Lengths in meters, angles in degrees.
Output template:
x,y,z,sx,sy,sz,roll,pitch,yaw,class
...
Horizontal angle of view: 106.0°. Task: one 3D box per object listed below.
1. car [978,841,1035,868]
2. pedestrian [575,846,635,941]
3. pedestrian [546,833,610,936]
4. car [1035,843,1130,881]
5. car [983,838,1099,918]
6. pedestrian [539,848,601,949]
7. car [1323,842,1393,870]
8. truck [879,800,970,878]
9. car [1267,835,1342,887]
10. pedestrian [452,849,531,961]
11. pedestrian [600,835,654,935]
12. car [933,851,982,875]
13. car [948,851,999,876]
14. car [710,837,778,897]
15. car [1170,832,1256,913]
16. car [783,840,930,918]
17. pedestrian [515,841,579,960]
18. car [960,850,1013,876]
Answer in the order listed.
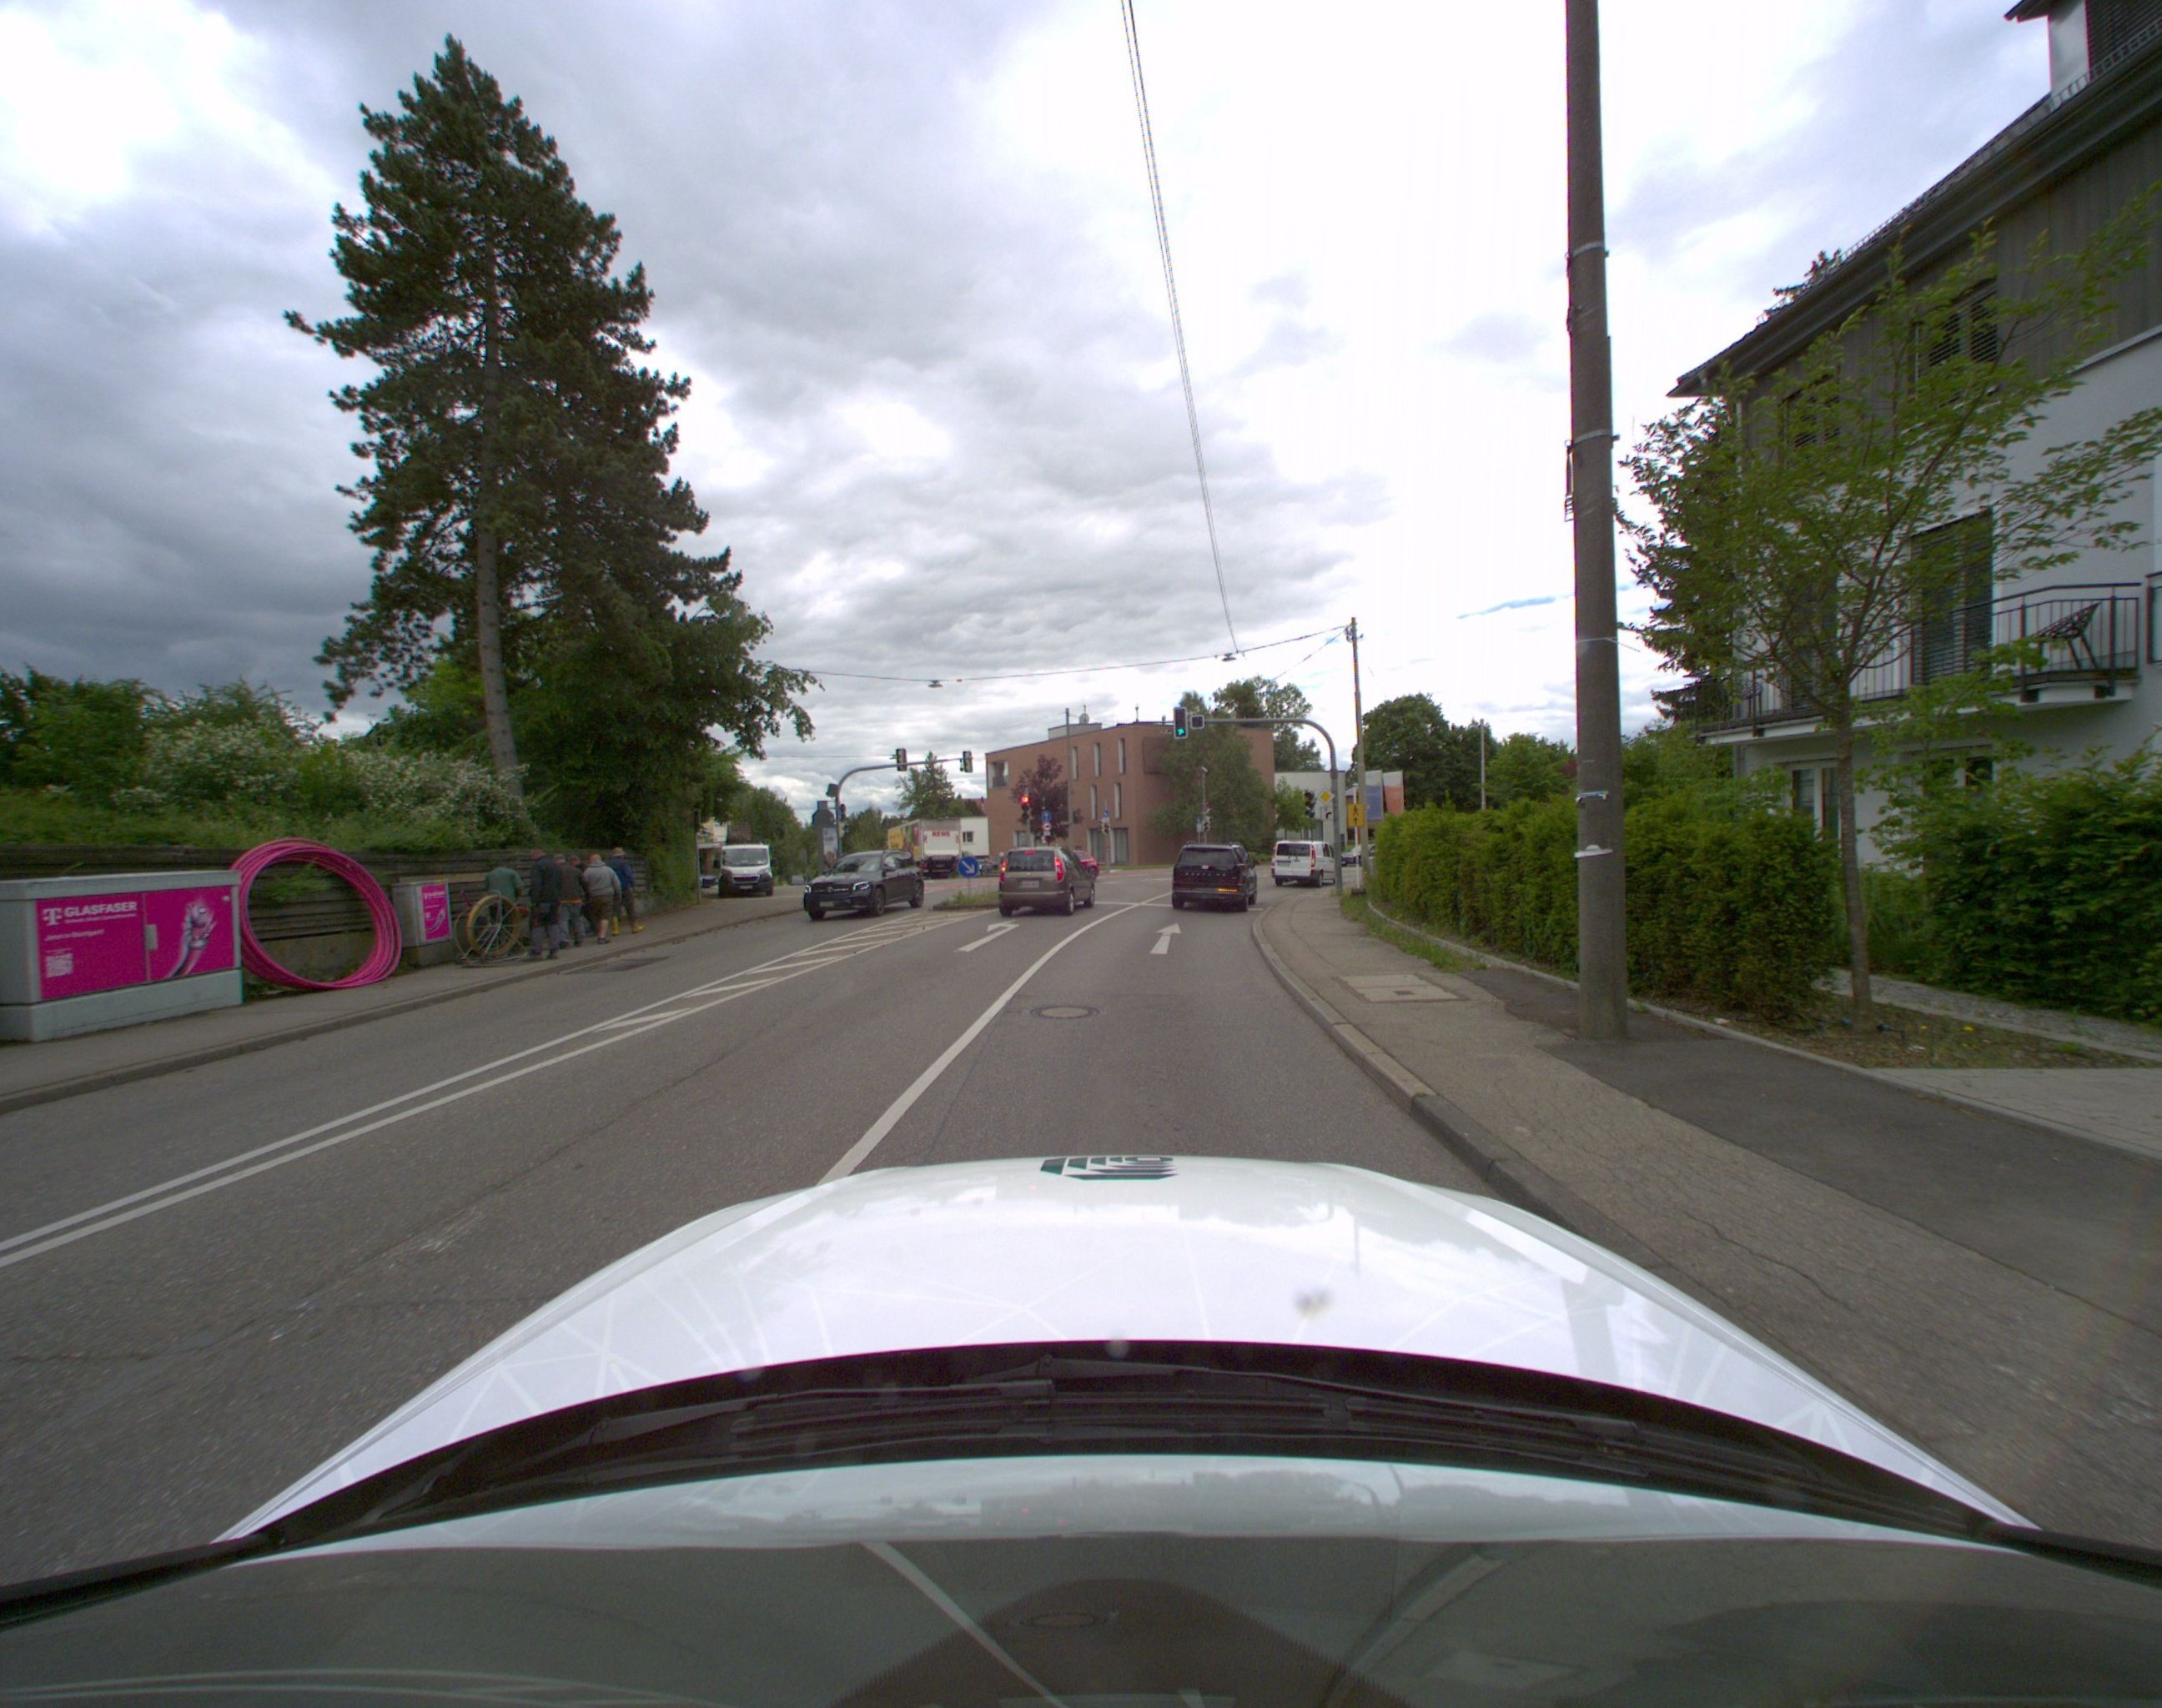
x,y,z,sx,sy,sz,roll,pitch,yaw,class
-5.964,0.044,65.366,4.010,2.013,1.982,-2,1,-28,car
-9.125,0.739,15.653,0.873,1.753,0.688,-2,0,-24,pedestrian
-10.245,0.604,16.605,0.702,2.013,0.813,-2,0,3,pedestrian
0.111,0.347,37.313,1.975,1.564,4.244,-2,0,43,car
-0.866,0.509,20.020,1.881,1.706,4.012,-2,0,11,car
-9.228,0.781,14.717,0.686,1.734,0.757,-2,0,44,pedestrian
18.129,0.106,53.208,4.807,1.658,1.977,-2,1,-37,car
-10.920,-0.959,55.402,3.141,4.734,11.696,-2,1,-25,truck
9.537,0.216,34.496,1.943,2.013,4.456,2,2,30,car
-9.737,0.811,13.485,0.819,1.763,0.861,-2,0,-23,pedestrian
-9.450,0.621,16.984,0.708,2.013,1.018,-2,0,-15,pedestrian
-11.549,0.811,76.080,4.011,2.013,1.982,-3,1,-28,car
-9.461,0.828,71.841,4.011,2.013,1.981,-2,0,-29,car
-14.272,0.508,34.845,2.288,2.227,6.428,-2,1,-19,car
3.523,0.408,21.678,1.982,1.881,4.011,2,1,9,car
-5.746,0.581,21.543,1.982,1.797,4.532,-2,0,9,car
-8.616,0.730,13.161,0.755,1.837,0.609,-2,0,-29,pedestrian
-8.020,0.708,69.152,4.011,2.013,1.981,-2,1,-29,car
